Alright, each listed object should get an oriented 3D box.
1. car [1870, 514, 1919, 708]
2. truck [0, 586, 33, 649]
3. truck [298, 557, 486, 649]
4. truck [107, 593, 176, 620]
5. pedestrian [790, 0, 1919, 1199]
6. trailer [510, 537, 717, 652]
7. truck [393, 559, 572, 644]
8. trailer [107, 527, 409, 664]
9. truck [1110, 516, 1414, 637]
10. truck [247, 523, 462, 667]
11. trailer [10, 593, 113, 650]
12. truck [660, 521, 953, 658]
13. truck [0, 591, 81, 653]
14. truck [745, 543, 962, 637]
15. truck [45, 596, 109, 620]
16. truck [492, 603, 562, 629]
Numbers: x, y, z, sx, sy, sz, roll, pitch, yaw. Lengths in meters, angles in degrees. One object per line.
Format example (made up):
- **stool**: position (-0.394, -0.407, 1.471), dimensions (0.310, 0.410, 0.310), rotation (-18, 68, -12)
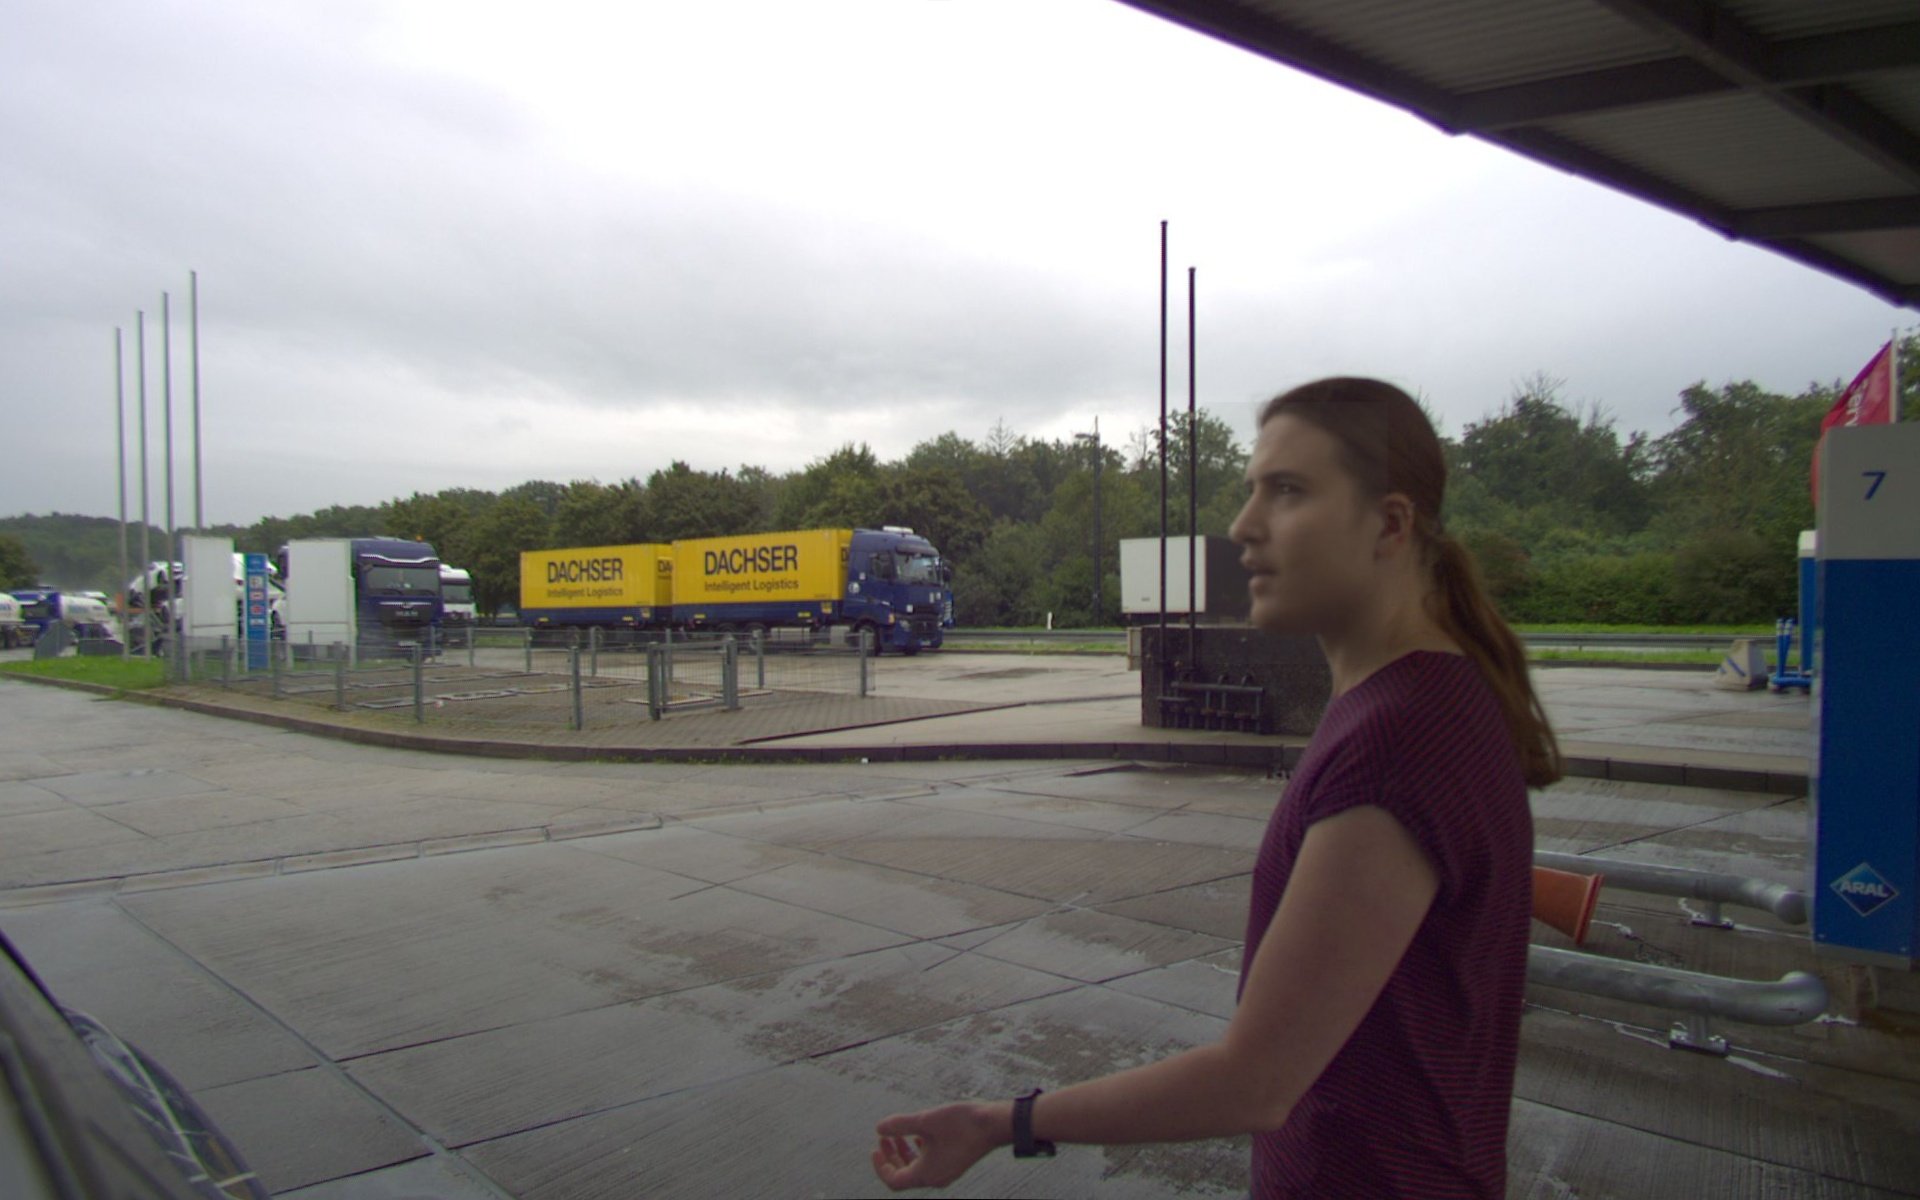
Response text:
- **car**: position (14.868, 0.116, 12.410), dimensions (5.272, 2.482, 2.298), rotation (-1, -2, 37)
- **truck**: position (-55.580, 1.014, 55.021), dimensions (3.196, 3.591, 12.013), rotation (-1, 0, -19)
- **truck**: position (-27.323, 0.175, 48.455), dimensions (10.433, 4.063, 2.961), rotation (-1, 0, 30)
- **truck**: position (-113.992, 0.994, 140.827), dimensions (14.626, 3.591, 3.215), rotation (-1, -1, 34)
- **pedestrian**: position (0.421, 0.356, 0.913), dimensions (0.839, 1.747, 0.786), rotation (-1, -1, 40)
- **trailer**: position (-13.566, -0.166, 39.299), dimensions (8.833, 4.063, 2.743), rotation (-1, 0, 33)
- **truck**: position (-24.802, 0.141, 52.284), dimensions (10.433, 4.063, 2.961), rotation (-1, 0, 30)
- **trailer**: position (-25.437, -0.058, 35.933), dimensions (16.563, 4.063, 2.957), rotation (-1, 0, 34)
- **truck**: position (11.053, -0.732, 37.713), dimensions (10.433, 4.063, 2.961), rotation (-1, 0, 30)
- **truck**: position (-19.012, -0.114, 31.631), dimensions (7.244, 4.063, 2.957), rotation (-1, 0, 34)
- **trailer**: position (-62.294, 1.429, 70.486), dimensions (2.854, 3.666, 10.605), rotation (-1, 0, -28)
- **truck**: position (-5.410, -0.269, 33.967), dimensions (10.608, 4.063, 2.743), rotation (-1, 0, 33)
- **truck**: position (-59.448, 1.366, 65.000), dimensions (3.000, 3.795, 6.486), rotation (-1, 0, -27)
- **truck**: position (-5.161, -0.374, 47.702), dimensions (10.433, 4.063, 2.961), rotation (-1, 0, 30)
- **truck**: position (-135.728, 1.221, 155.409), dimensions (16.515, 3.591, 3.215), rotation (-1, 0, 34)
- **truck**: position (-39.954, 1.512, 93.357), dimensions (6.158, 2.321, 3.101), rotation (-1, -1, 33)
